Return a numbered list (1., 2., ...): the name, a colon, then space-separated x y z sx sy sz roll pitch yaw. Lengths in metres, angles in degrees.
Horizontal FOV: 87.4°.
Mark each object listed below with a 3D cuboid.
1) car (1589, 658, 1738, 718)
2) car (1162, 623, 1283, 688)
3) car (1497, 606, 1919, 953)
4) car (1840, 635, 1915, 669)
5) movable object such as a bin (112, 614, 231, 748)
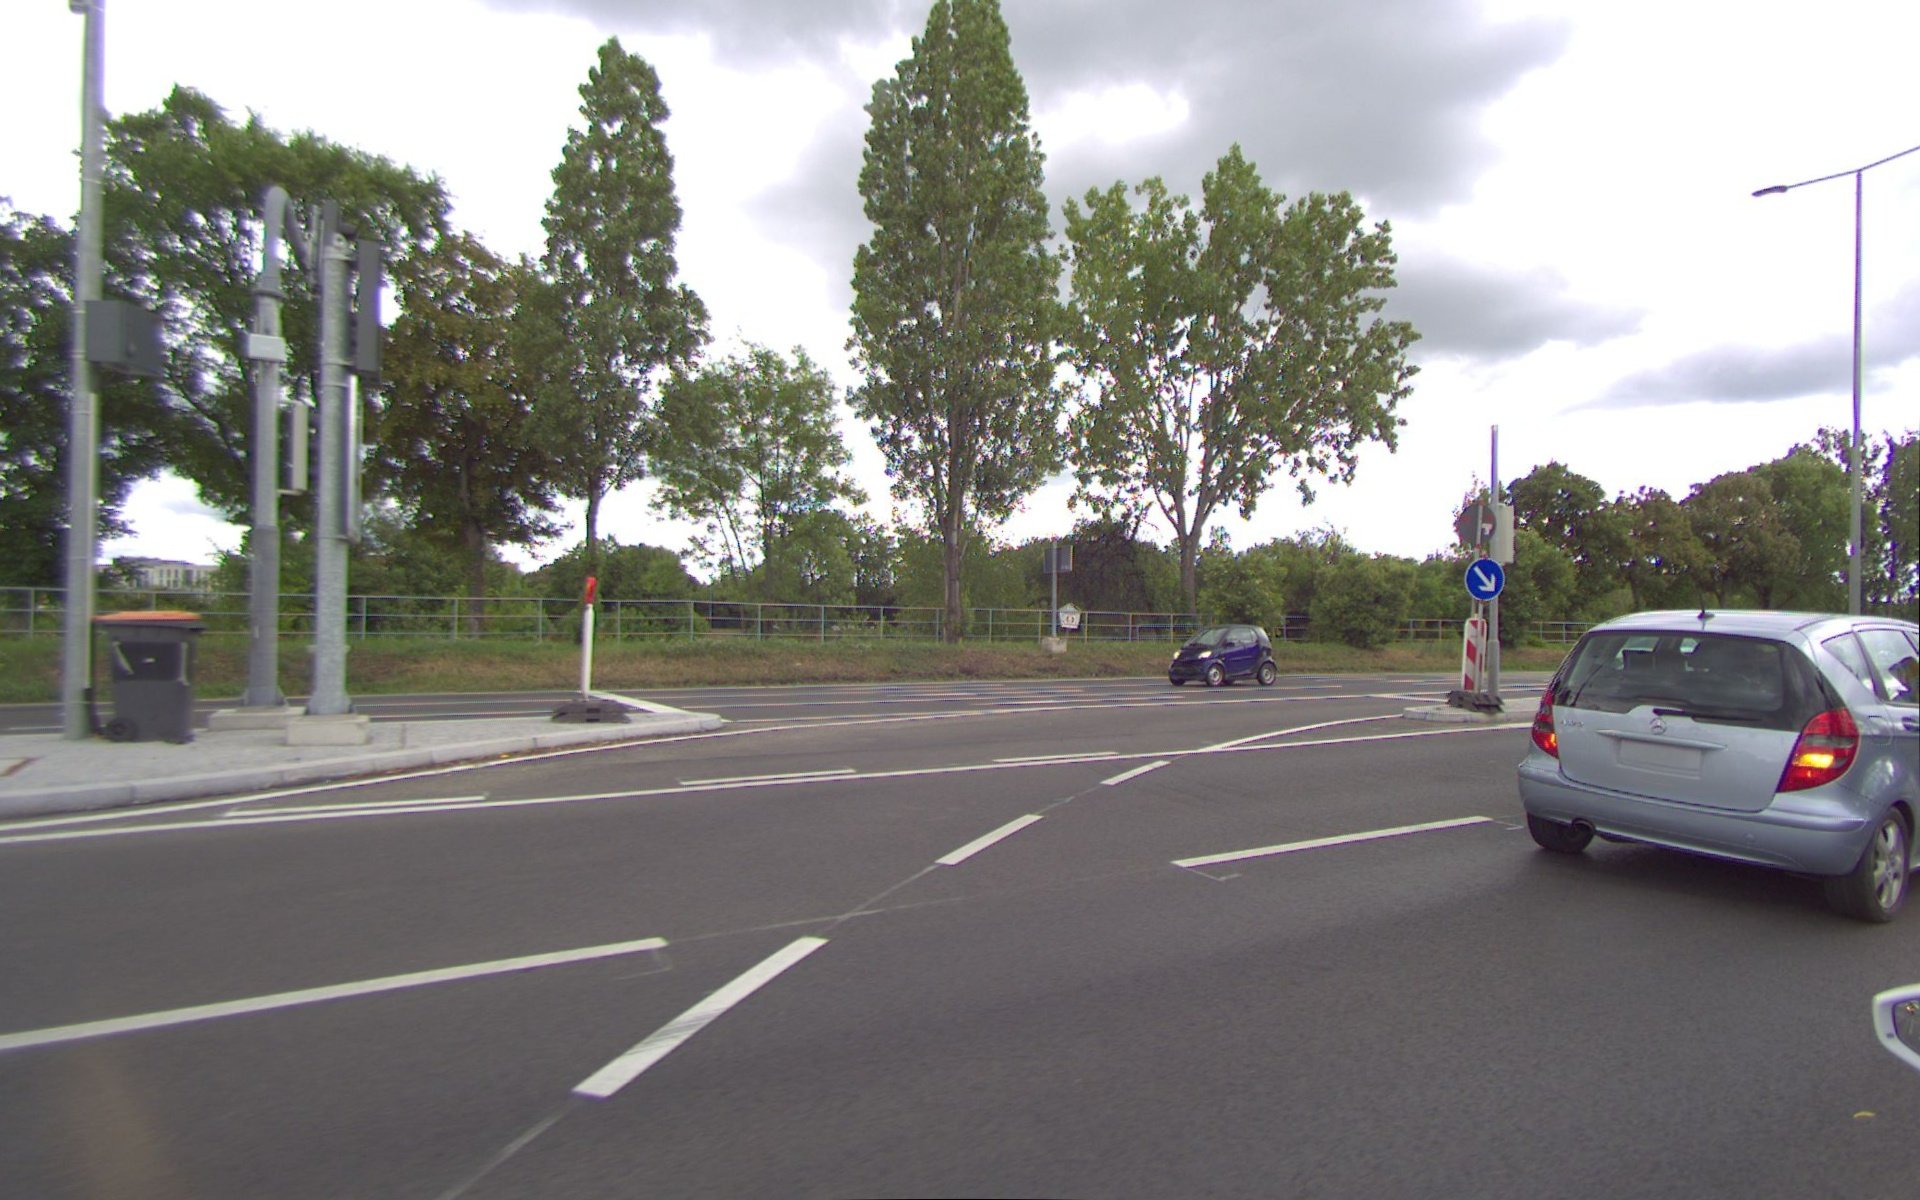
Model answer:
1. car: 21.810 2.660 31.091 4.749 1.513 1.983 1 1 -31
2. car: 6.672 1.365 25.497 2.705 1.482 1.465 1 1 -31
3. car: 5.404 0.858 6.406 3.954 1.550 1.701 1 1 -31
4. car: 50.609 2.817 55.388 3.953 1.662 1.983 1 1 -31
5. movable object such as a bin: -6.729 0.666 8.602 0.732 1.073 0.538 1 2 -31
